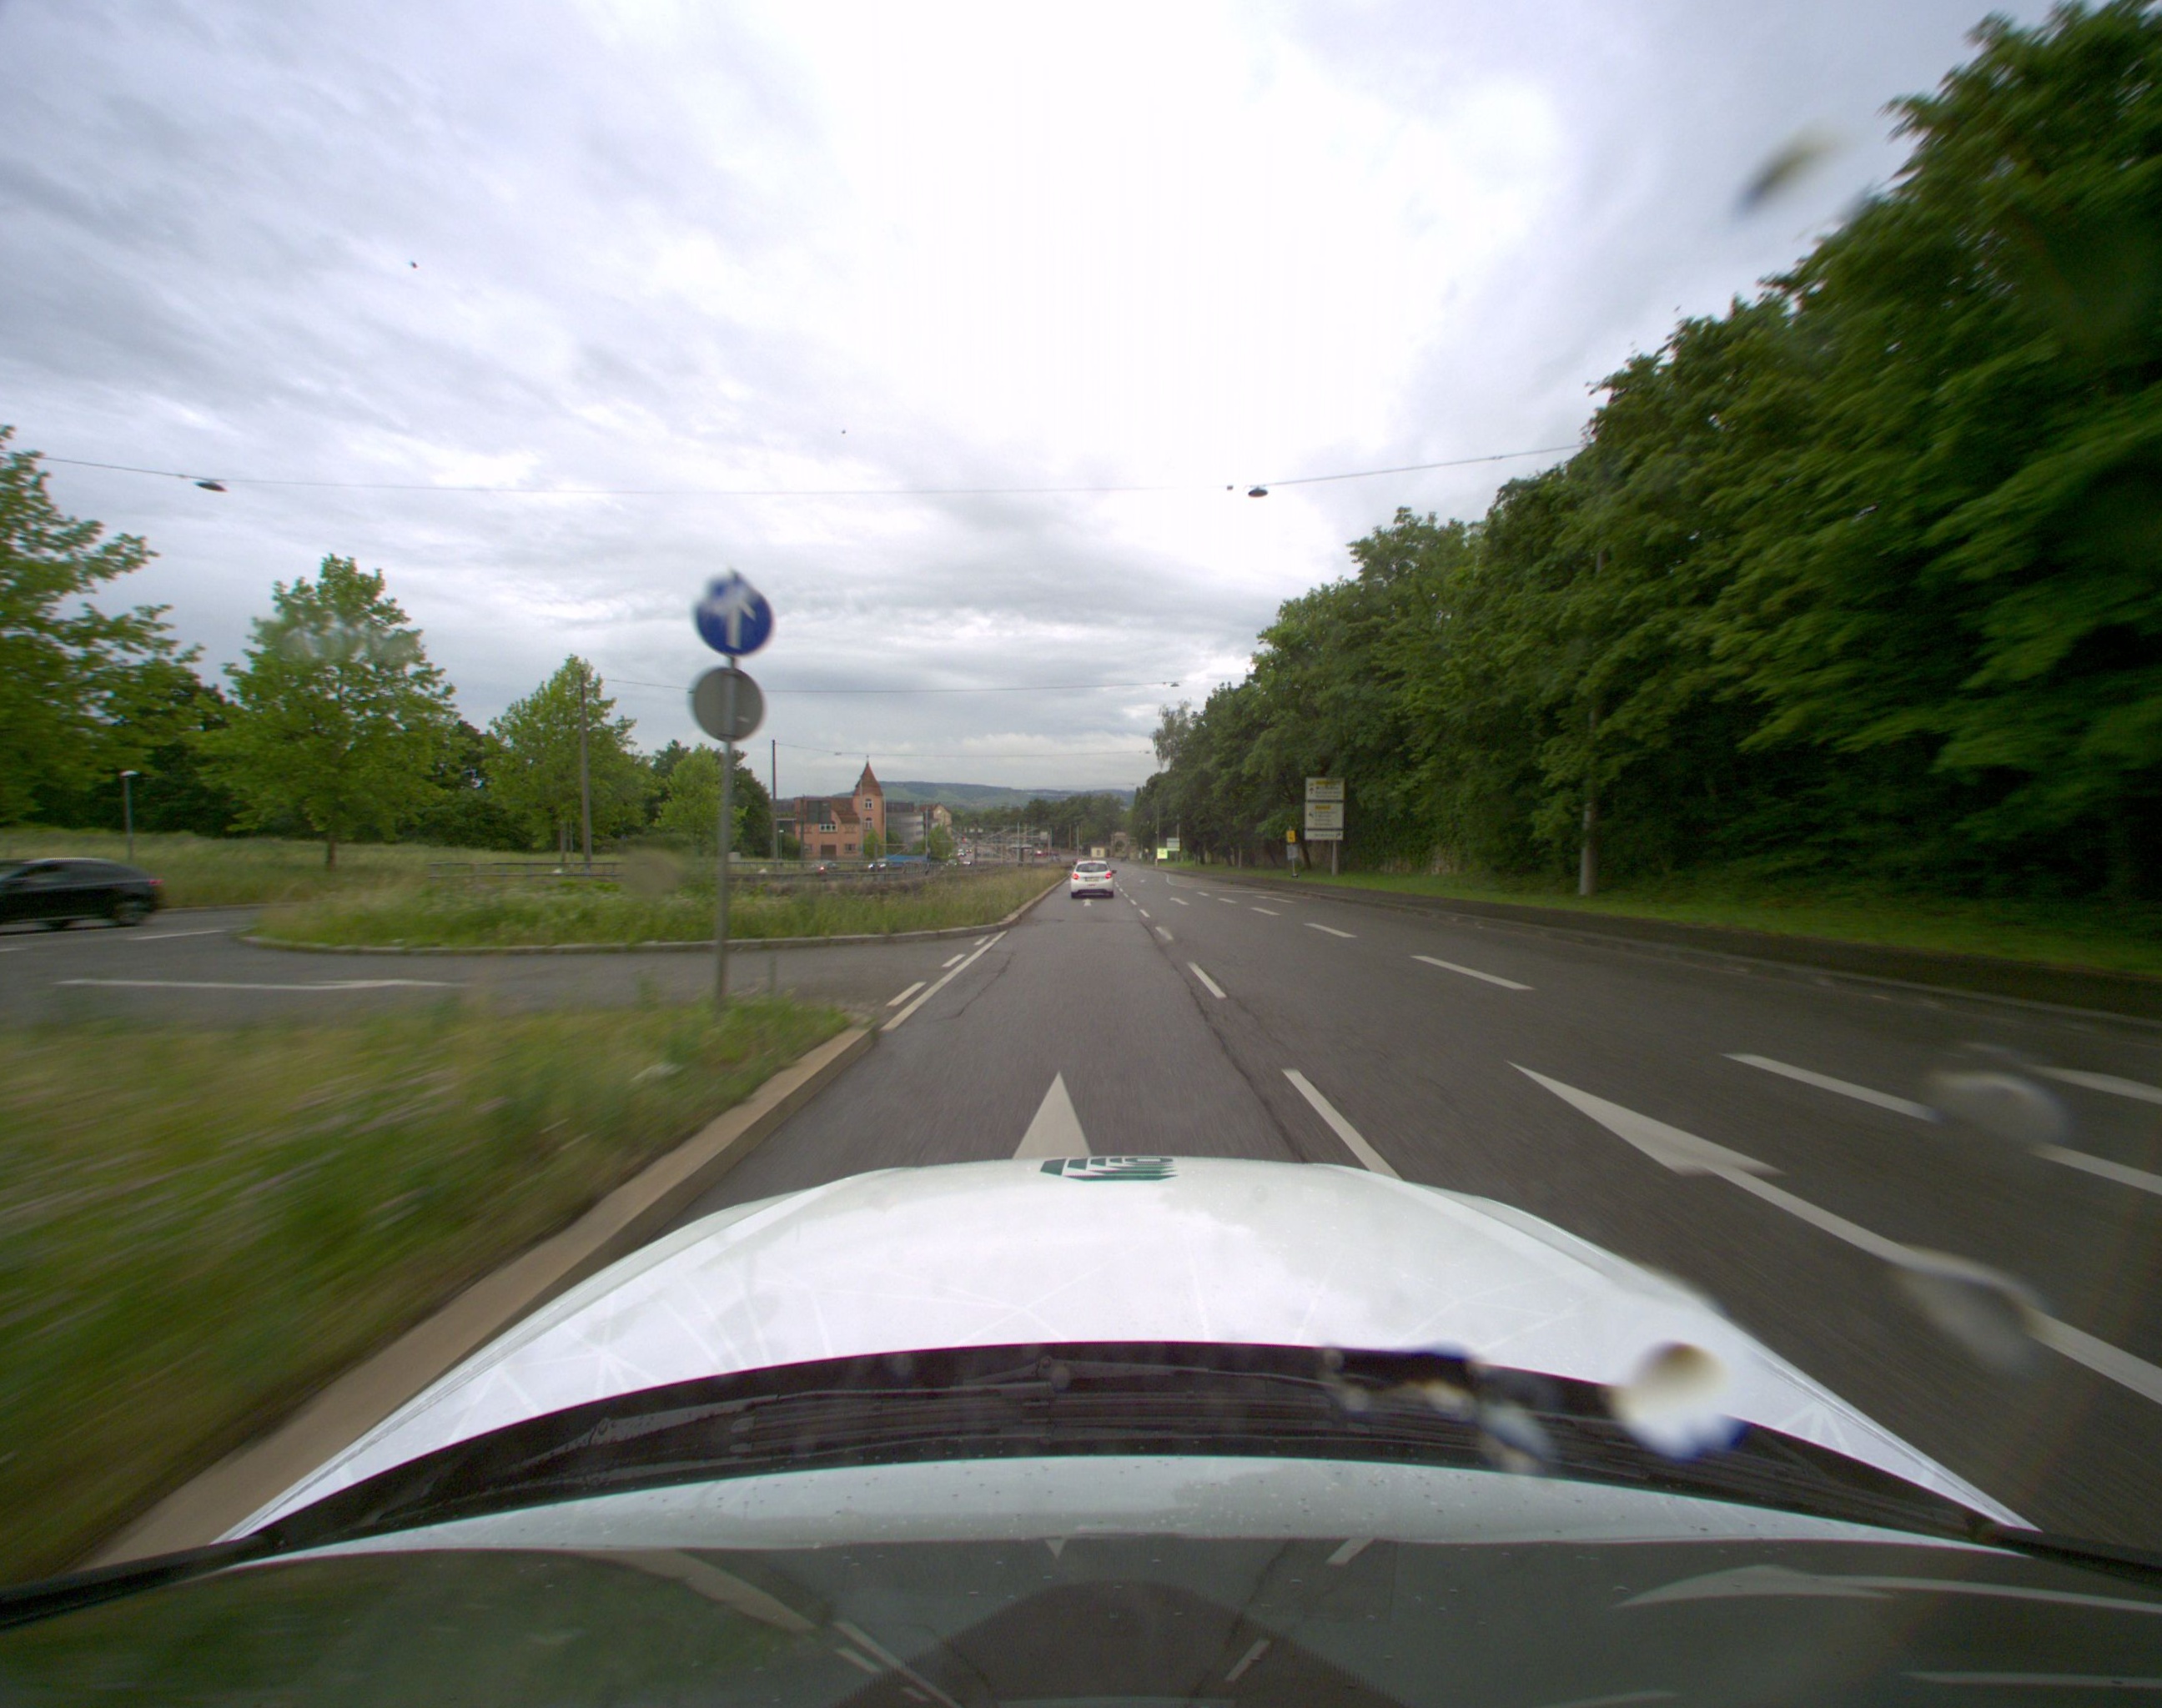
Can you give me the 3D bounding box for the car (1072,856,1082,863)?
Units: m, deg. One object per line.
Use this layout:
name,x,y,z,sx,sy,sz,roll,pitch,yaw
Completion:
car,-0.925,1.389,201.475,1.993,1.706,3.987,0,0,-9

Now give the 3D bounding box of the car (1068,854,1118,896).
car,0.507,0.799,33.037,1.862,1.511,3.901,-1,0,1

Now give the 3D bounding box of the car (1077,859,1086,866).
car,0.150,2.054,193.460,1.815,1.606,4.002,-2,0,2

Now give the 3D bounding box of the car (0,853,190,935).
car,-21.474,0.775,16.602,1.650,1.528,4.437,1,0,1

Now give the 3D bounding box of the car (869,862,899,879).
car,-21.022,1.765,87.045,1.884,1.644,4.359,3,0,2

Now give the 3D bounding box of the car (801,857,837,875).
car,-24.315,1.074,75.708,1.884,1.641,3.974,0,0,2
